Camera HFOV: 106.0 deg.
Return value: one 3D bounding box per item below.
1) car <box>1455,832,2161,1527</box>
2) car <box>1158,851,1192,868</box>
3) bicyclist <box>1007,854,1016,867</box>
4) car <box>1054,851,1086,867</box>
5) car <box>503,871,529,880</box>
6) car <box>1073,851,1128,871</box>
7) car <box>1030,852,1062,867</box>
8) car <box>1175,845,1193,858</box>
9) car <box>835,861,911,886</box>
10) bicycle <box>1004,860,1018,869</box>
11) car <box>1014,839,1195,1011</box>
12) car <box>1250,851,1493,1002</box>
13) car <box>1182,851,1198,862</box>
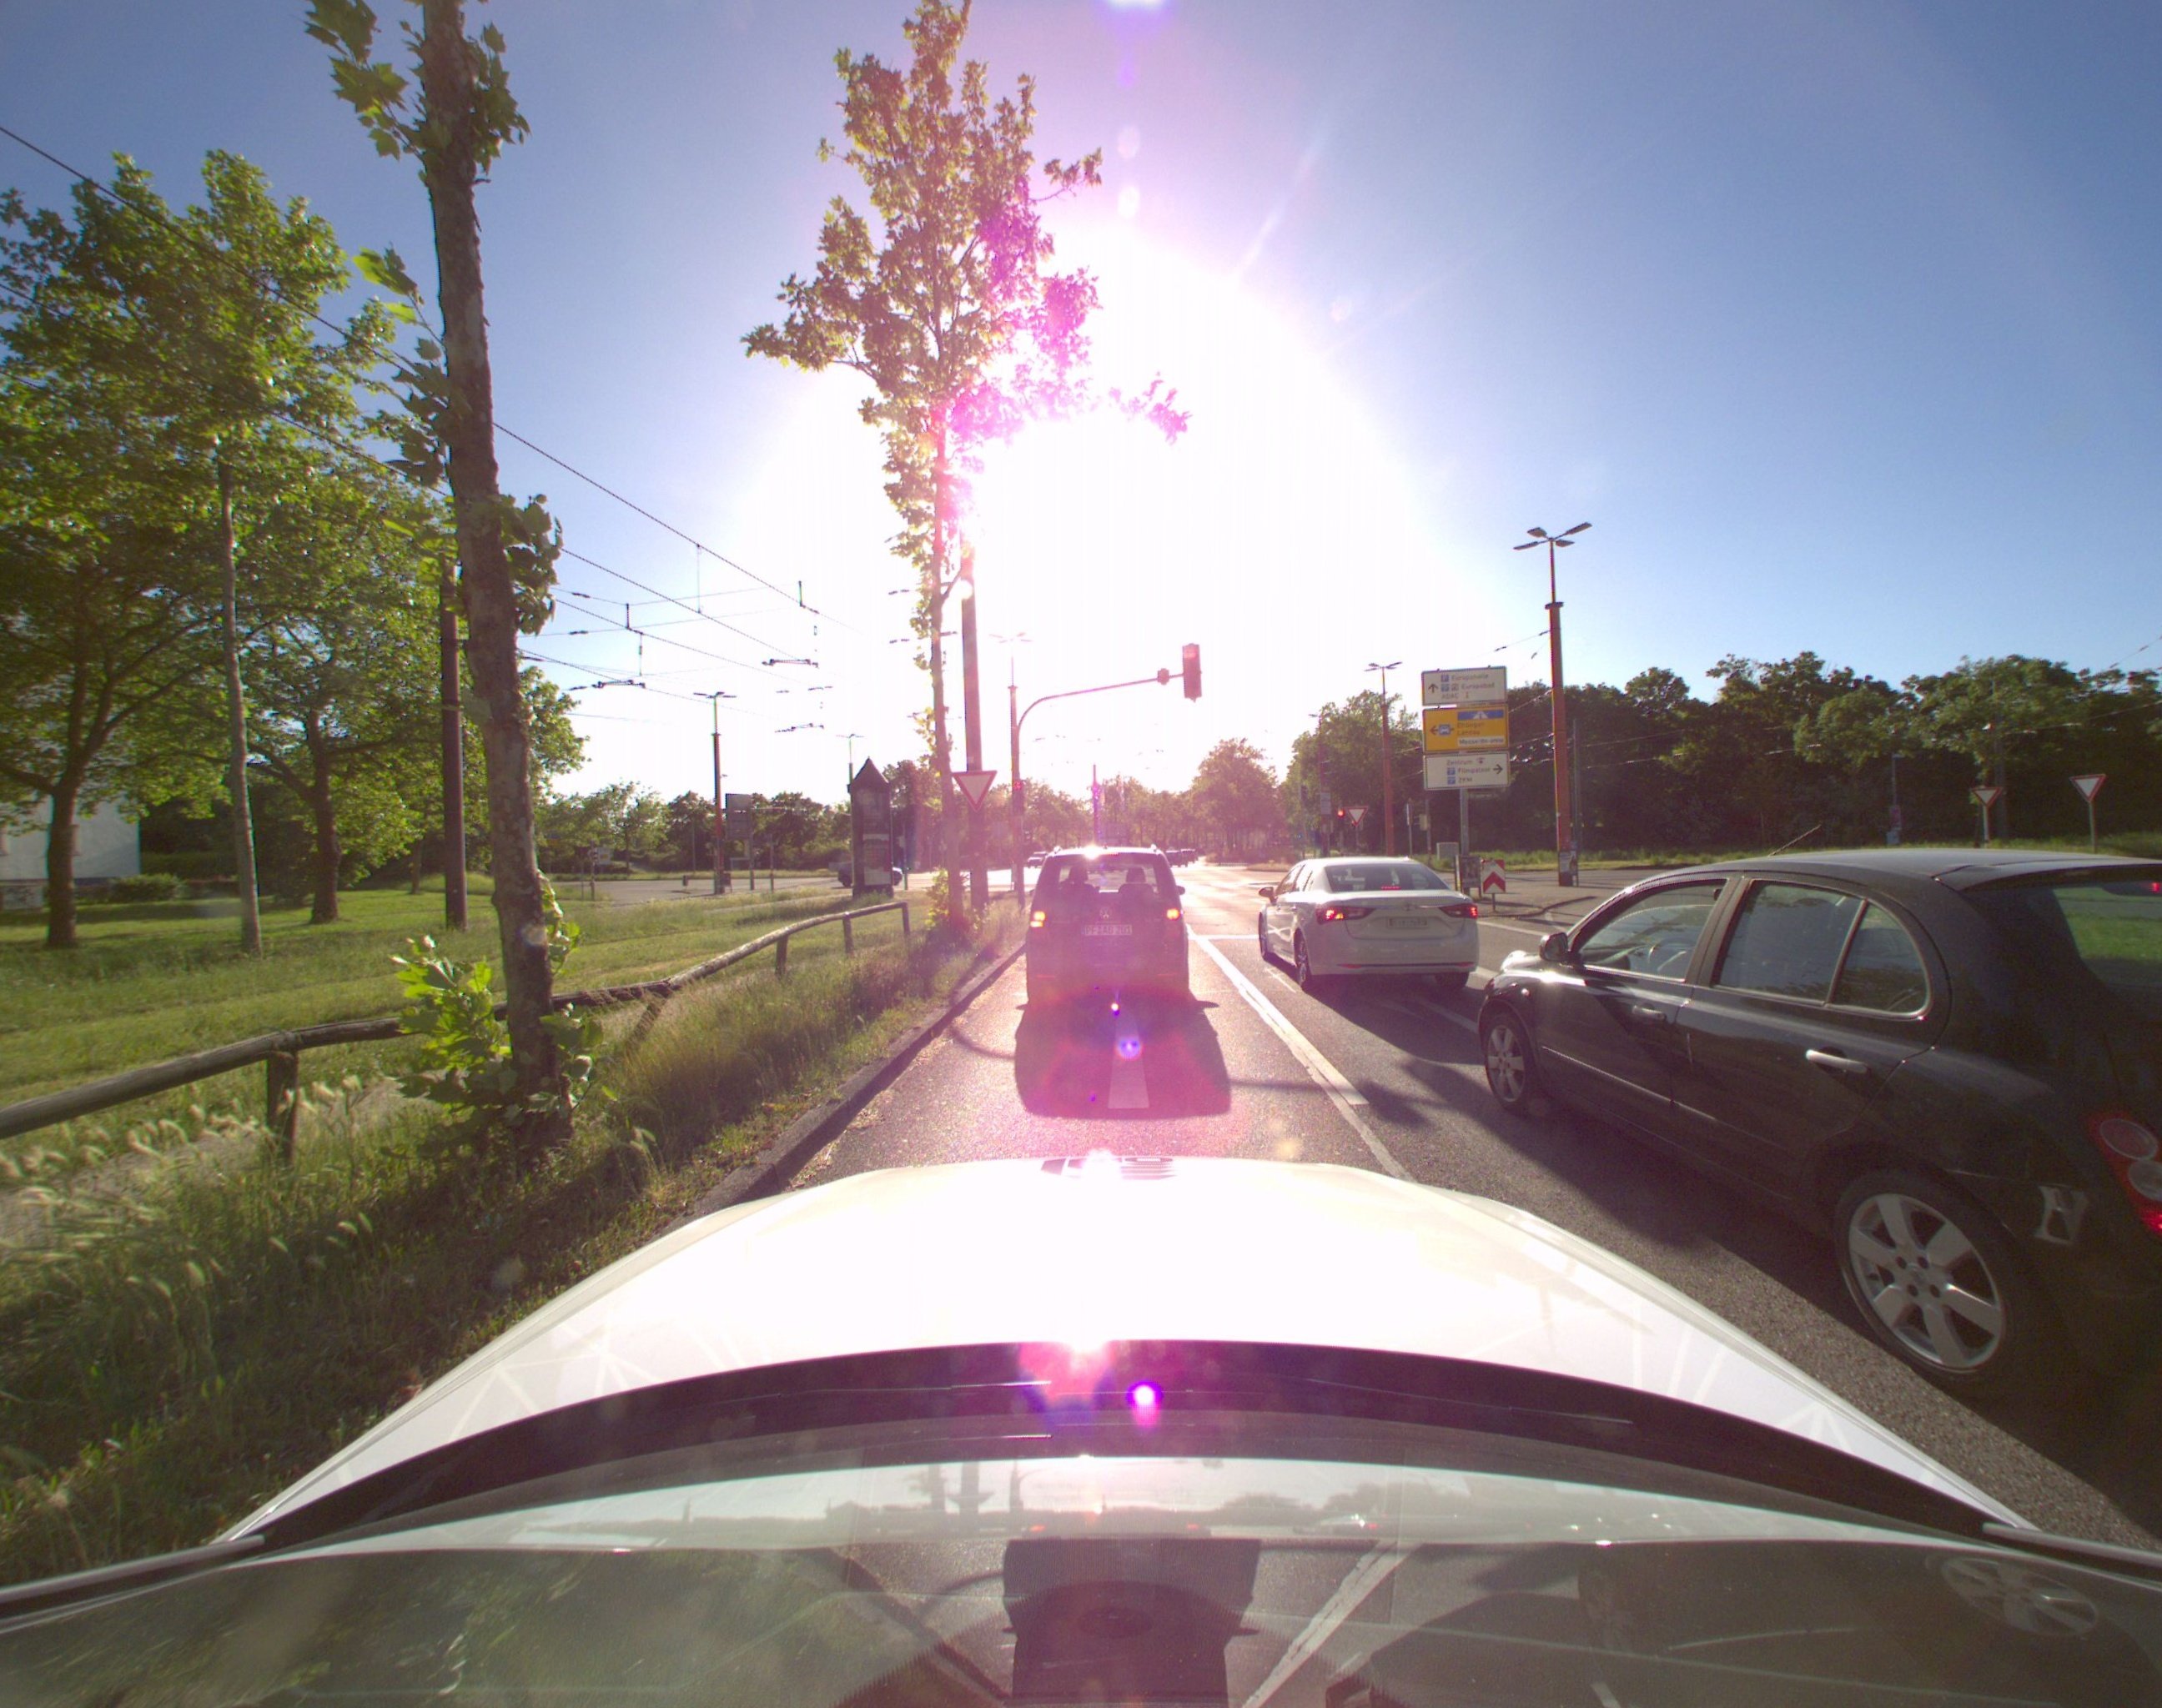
[{"bbox_3d":[3.165,0.694,3.515,1.550,1.506,3.517,-2,0,2],"label":"car"},{"bbox_3d":[8.648,0.471,74.966,1.891,1.464,4.079,-2,0,24],"label":"car"},{"bbox_3d":[-8.116,0.759,95.016,0.686,1.457,0.879,-2,-1,20],"label":"bicyclist"},{"bbox_3d":[-1.216,0.510,91.875,1.977,1.684,4.853,-2,0,20],"label":"car"},{"bbox_3d":[-86.107,3.286,124.116,3.766,1.310,1.673,-2,0,30],"label":"car"},{"bbox_3d":[1.586,0.561,64.605,4.264,1.464,1.891,-1,0,-43],"label":"car"},{"bbox_3d":[-3.976,0.619,93.481,1.977,1.684,4.853,-2,0,20],"label":"car"},{"bbox_3d":[12.217,-0.290,96.469,1.899,1.464,4.380,-1,1,5],"label":"car"},{"bbox_3d":[-13.720,1.295,53.741,4.589,1.543,2.012,-2,0,26],"label":"car"},{"bbox_3d":[-8.147,1.226,94.796,0.728,1.090,1.971,-2,0,21],"label":"bicycle"},{"bbox_3d":[0.294,0.696,9.992,1.731,1.641,4.002,-2,0,2],"label":"car"},{"bbox_3d":[3.295,0.719,10.119,1.708,1.454,4.147,-2,0,3],"label":"car"},{"bbox_3d":[15.117,0.370,112.702,1.895,1.464,4.236,-2,0,11],"label":"car"}]
